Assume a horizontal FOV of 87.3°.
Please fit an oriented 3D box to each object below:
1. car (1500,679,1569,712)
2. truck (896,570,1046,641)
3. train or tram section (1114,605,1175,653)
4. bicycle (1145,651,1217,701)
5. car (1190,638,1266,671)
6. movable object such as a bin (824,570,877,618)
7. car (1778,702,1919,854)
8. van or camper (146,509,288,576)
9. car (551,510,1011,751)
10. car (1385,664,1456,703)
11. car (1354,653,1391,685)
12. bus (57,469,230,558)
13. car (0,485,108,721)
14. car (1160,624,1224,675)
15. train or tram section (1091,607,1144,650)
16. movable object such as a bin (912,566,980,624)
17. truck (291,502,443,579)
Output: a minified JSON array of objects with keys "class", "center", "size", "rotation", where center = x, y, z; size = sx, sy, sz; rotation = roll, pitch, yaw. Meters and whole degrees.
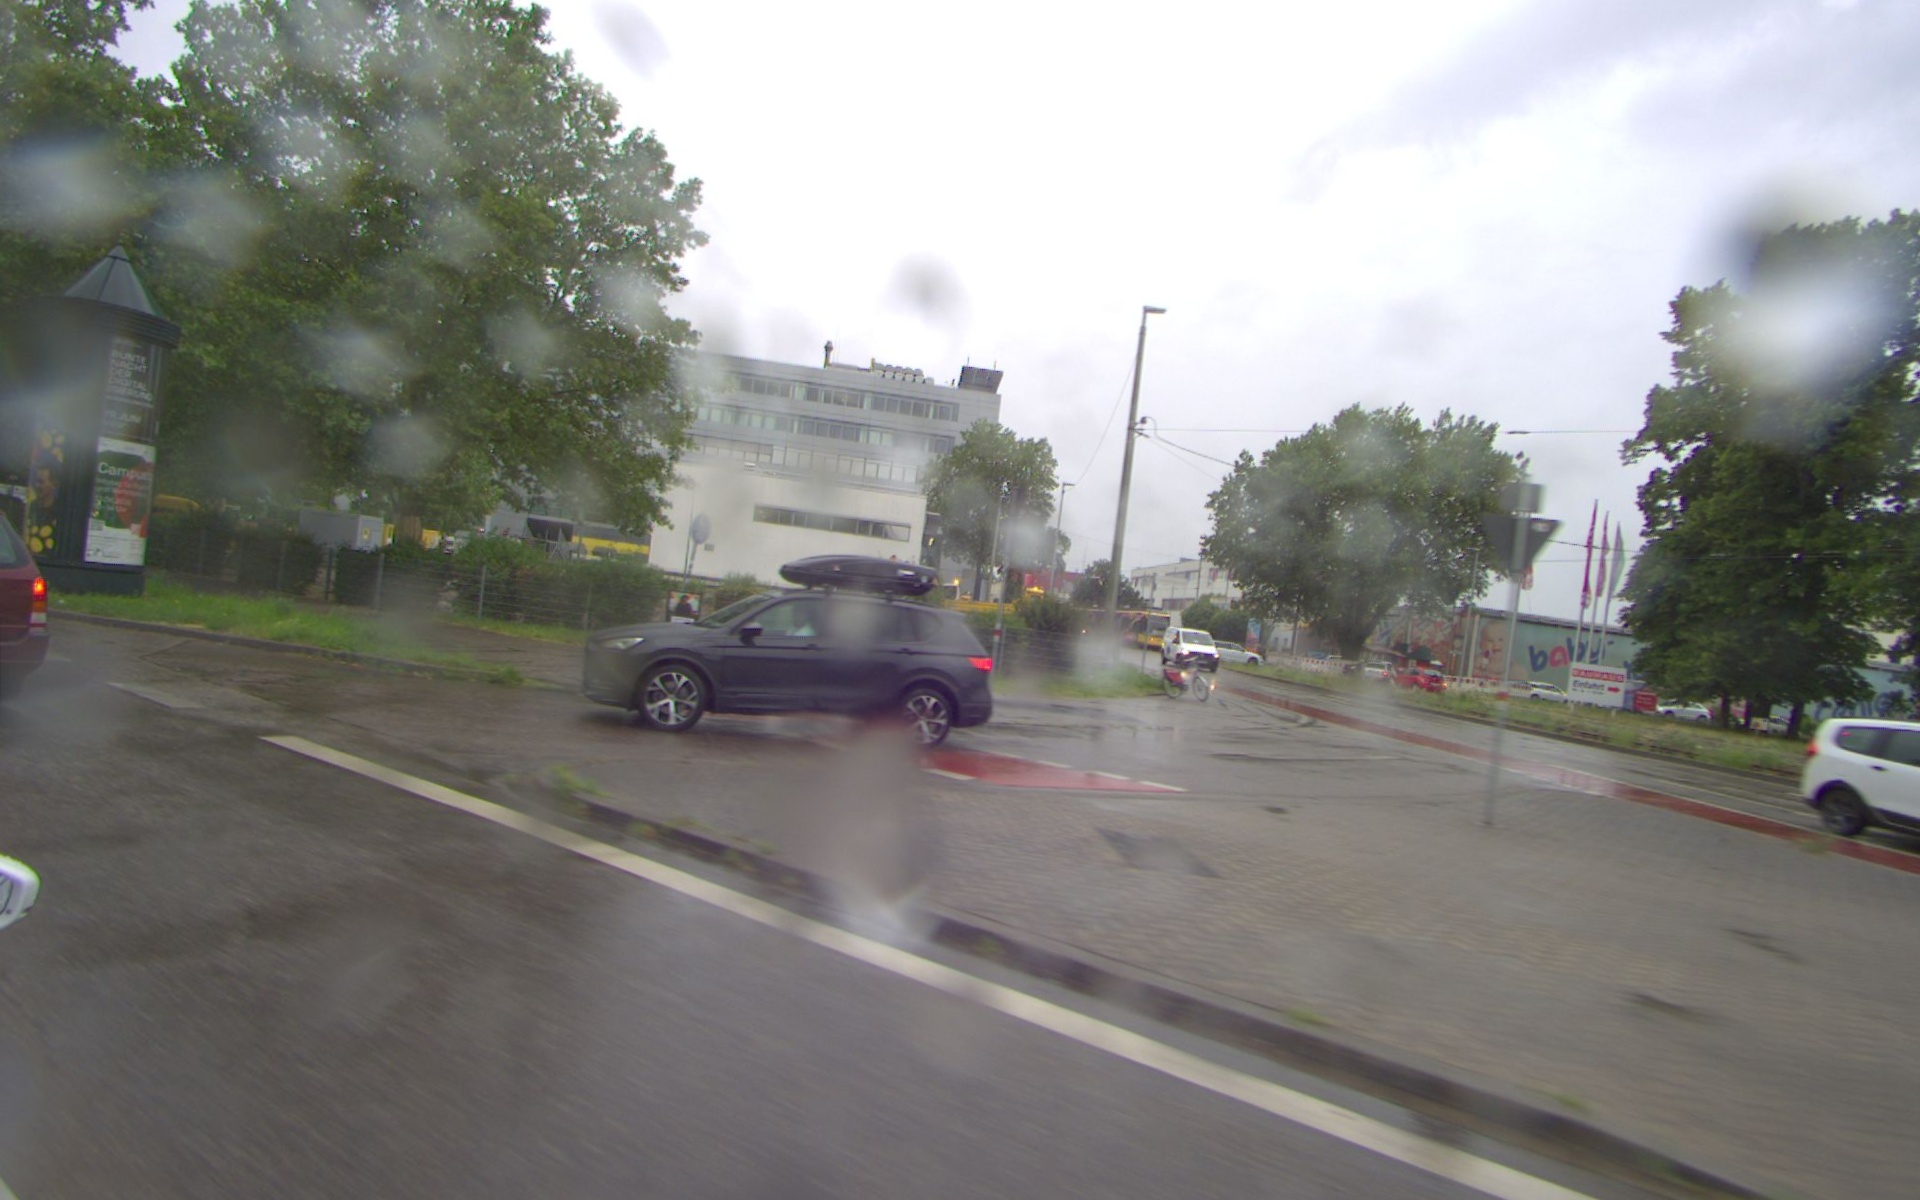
[{"class":"car","center":[40.973,6.773,71.810],"size":[3.711,1.799,1.809],"rotation":[7,-1,3]},{"class":"truck","center":[0.672,0.414,65.743],"size":[9.299,3.384,2.497],"rotation":[7,-1,-4]},{"class":"train or tram section","center":[15.249,2.384,83.789],"size":[2.358,3.560,8.368],"rotation":[7,-2,-6]},{"class":"bicycle","center":[5.497,1.899,25.006],"size":[1.612,1.051,0.804],"rotation":[7,1,-38]},{"class":"car","center":[18.058,3.649,67.921],"size":[4.538,1.617,1.845],"rotation":[7,0,3]},{"class":"movable object such as a bin","center":[-6.235,-0.309,57.419],"size":[1.975,2.384,3.284],"rotation":[7,0,9]},{"class":"car","center":[13.003,2.437,12.351],"size":[1.835,1.693,4.456],"rotation":[7,0,-6]},{"class":"van or camper","center":[-29.141,-2.221,39.582],"size":[1.771,1.929,3.998],"rotation":[8,-1,28]},{"class":"car","center":[-2.035,0.388,11.592],"size":[4.688,2.082,1.923],"rotation":[7,0,-20]},{"class":"car","center":[25.576,4.611,56.037],"size":[1.775,1.799,3.781],"rotation":[7,-2,-5]},{"class":"car","center":[27.082,4.563,66.106],"size":[1.773,1.799,3.785],"rotation":[6,-2,19]},{"class":"bus","center":[-32.445,-3.390,40.138],"size":[1.967,2.678,4.799],"rotation":[7,-1,33]},{"class":"car","center":[-8.278,-0.225,7.350],"size":[4.043,1.554,1.843],"rotation":[7,-2,32]},{"class":"car","center":[11.113,2.376,48.454],"size":[1.963,2.115,4.233],"rotation":[7,-2,1]},{"class":"train or tram section","center":[14.329,2.599,92.178],"size":[2.358,3.560,8.528],"rotation":[7,-2,-6]},{"class":"movable object such as a bin","center":[-1.047,-0.386,72.310],"size":[3.565,3.670,3.302],"rotation":[7,0,-23]},{"class":"truck","center":[-32.716,-3.153,56.137],"size":[3.026,3.067,9.503],"rotation":[7,-2,-3]}]
